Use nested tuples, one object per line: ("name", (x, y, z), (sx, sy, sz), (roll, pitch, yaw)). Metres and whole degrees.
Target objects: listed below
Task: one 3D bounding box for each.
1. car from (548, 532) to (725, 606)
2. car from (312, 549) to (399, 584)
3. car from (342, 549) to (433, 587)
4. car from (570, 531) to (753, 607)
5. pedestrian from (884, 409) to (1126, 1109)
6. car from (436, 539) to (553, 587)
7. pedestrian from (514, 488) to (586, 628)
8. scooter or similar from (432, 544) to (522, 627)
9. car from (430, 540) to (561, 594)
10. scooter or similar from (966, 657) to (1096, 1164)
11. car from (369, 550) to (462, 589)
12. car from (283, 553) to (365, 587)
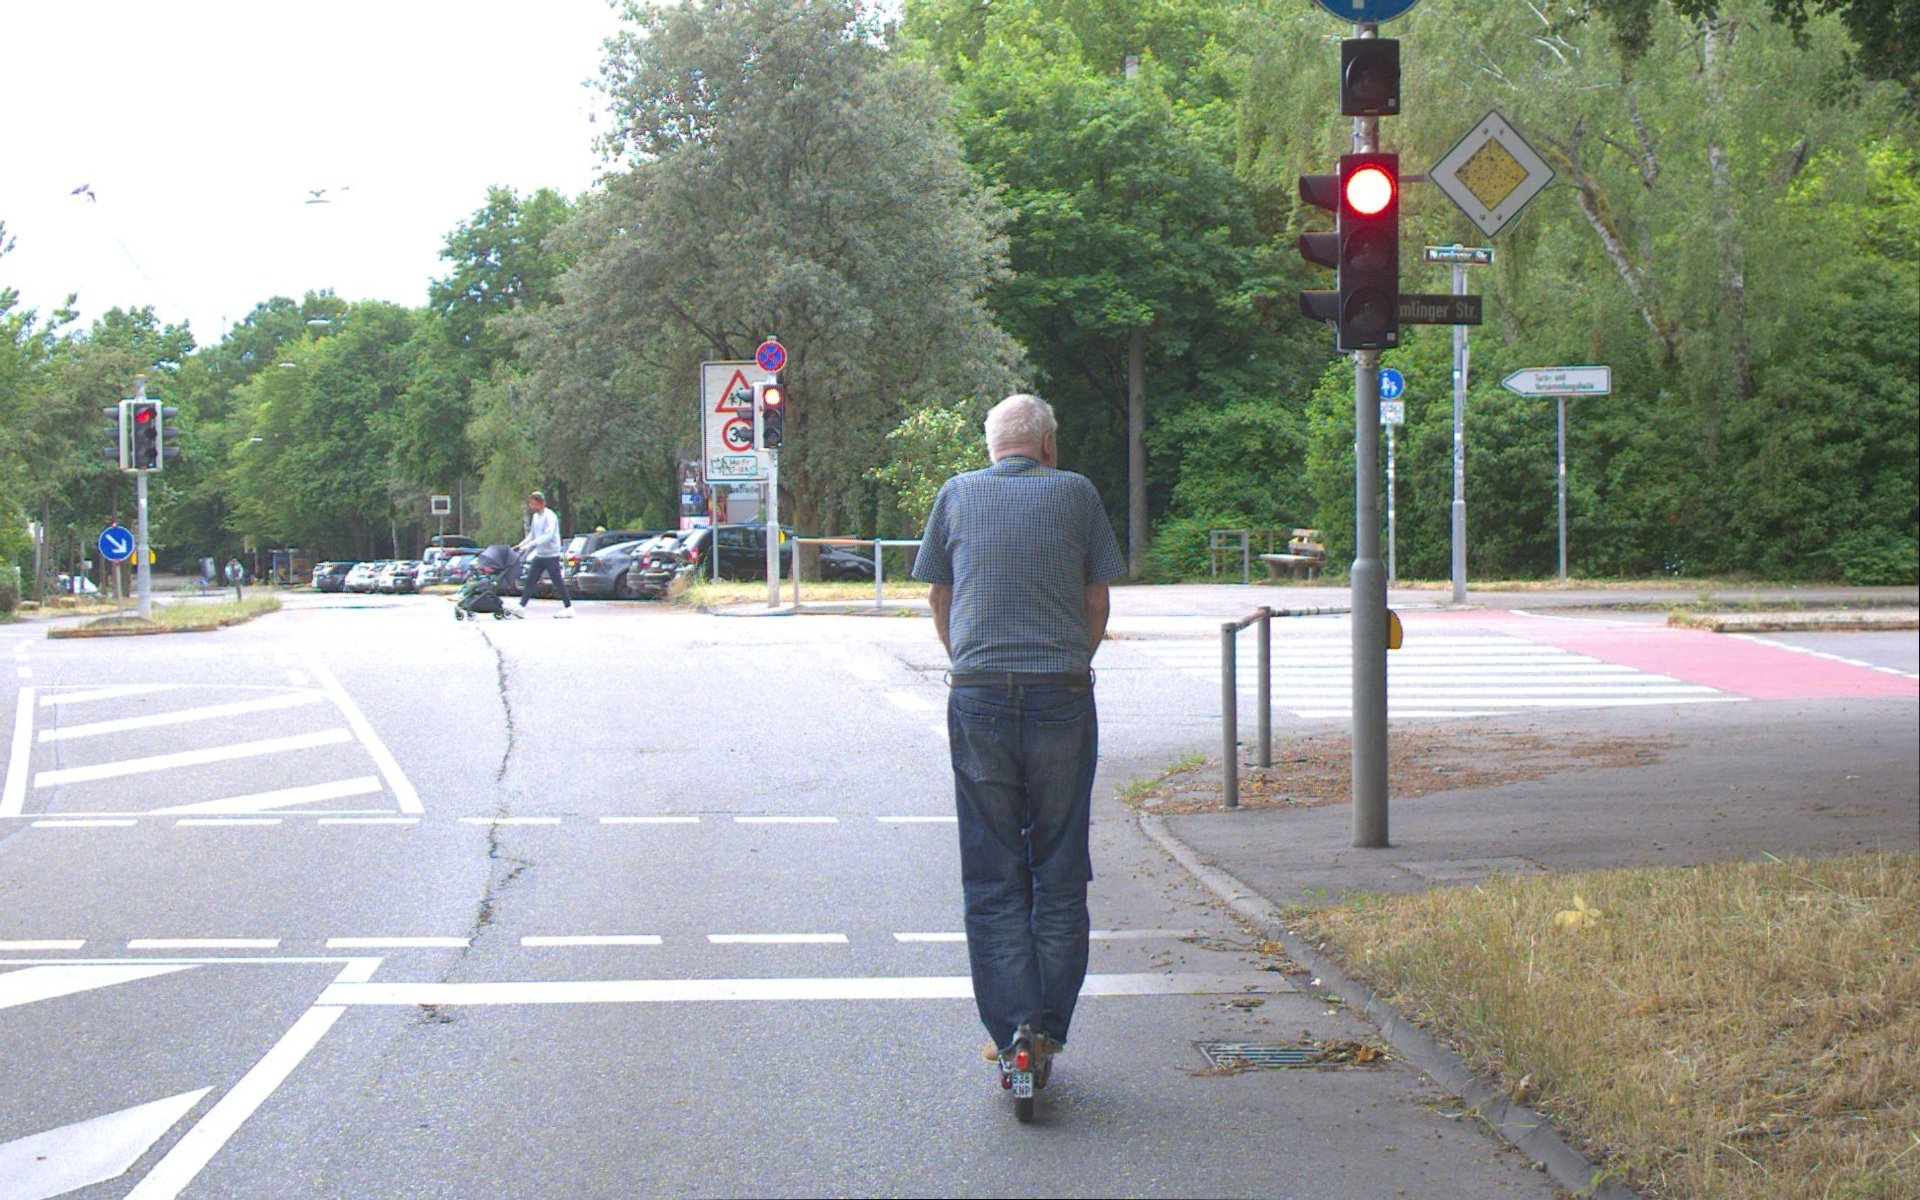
("car", (-7.755, -0.764, 82.377), (3.841, 1.605, 1.728), (-3, 2, -23))
("car", (-29.664, -1.652, 168.719), (3.841, 1.605, 1.728), (-3, 2, -23))
("car", (-26.928, -1.520, 161.678), (3.841, 1.605, 1.728), (-3, 2, -23))
("car", (-6.929, -0.724, 79.843), (3.841, 1.605, 1.728), (-3, 2, -24))
("pedestrian", (0.126, 0.411, 9.120), (0.572, 1.807, 0.420), (-1, 1, 5))
("car", (-16.899, -1.344, 124.886), (3.841, 1.605, 1.728), (-3, 2, -23))
("pedestrian", (-5.538, -0.574, 46.444), (0.883, 1.856, 0.574), (-1, 1, -12))
("scooter or similar", (-6.491, -0.196, 46.187), (1.107, 1.077, 0.578), (-2, 1, -14))
("car", (-15.132, -1.090, 111.934), (3.841, 1.605, 1.728), (-3, 2, -23))
("scooter or similar", (0.195, 0.760, 8.884), (0.282, 1.174, 1.177), (-1, 1, 3))
("car", (-24.868, -1.387, 156.994), (3.841, 1.605, 1.728), (-3, 2, -23))
("car", (-33.020, -1.553, 178.484), (3.841, 1.605, 1.728), (-3, 2, -23))
